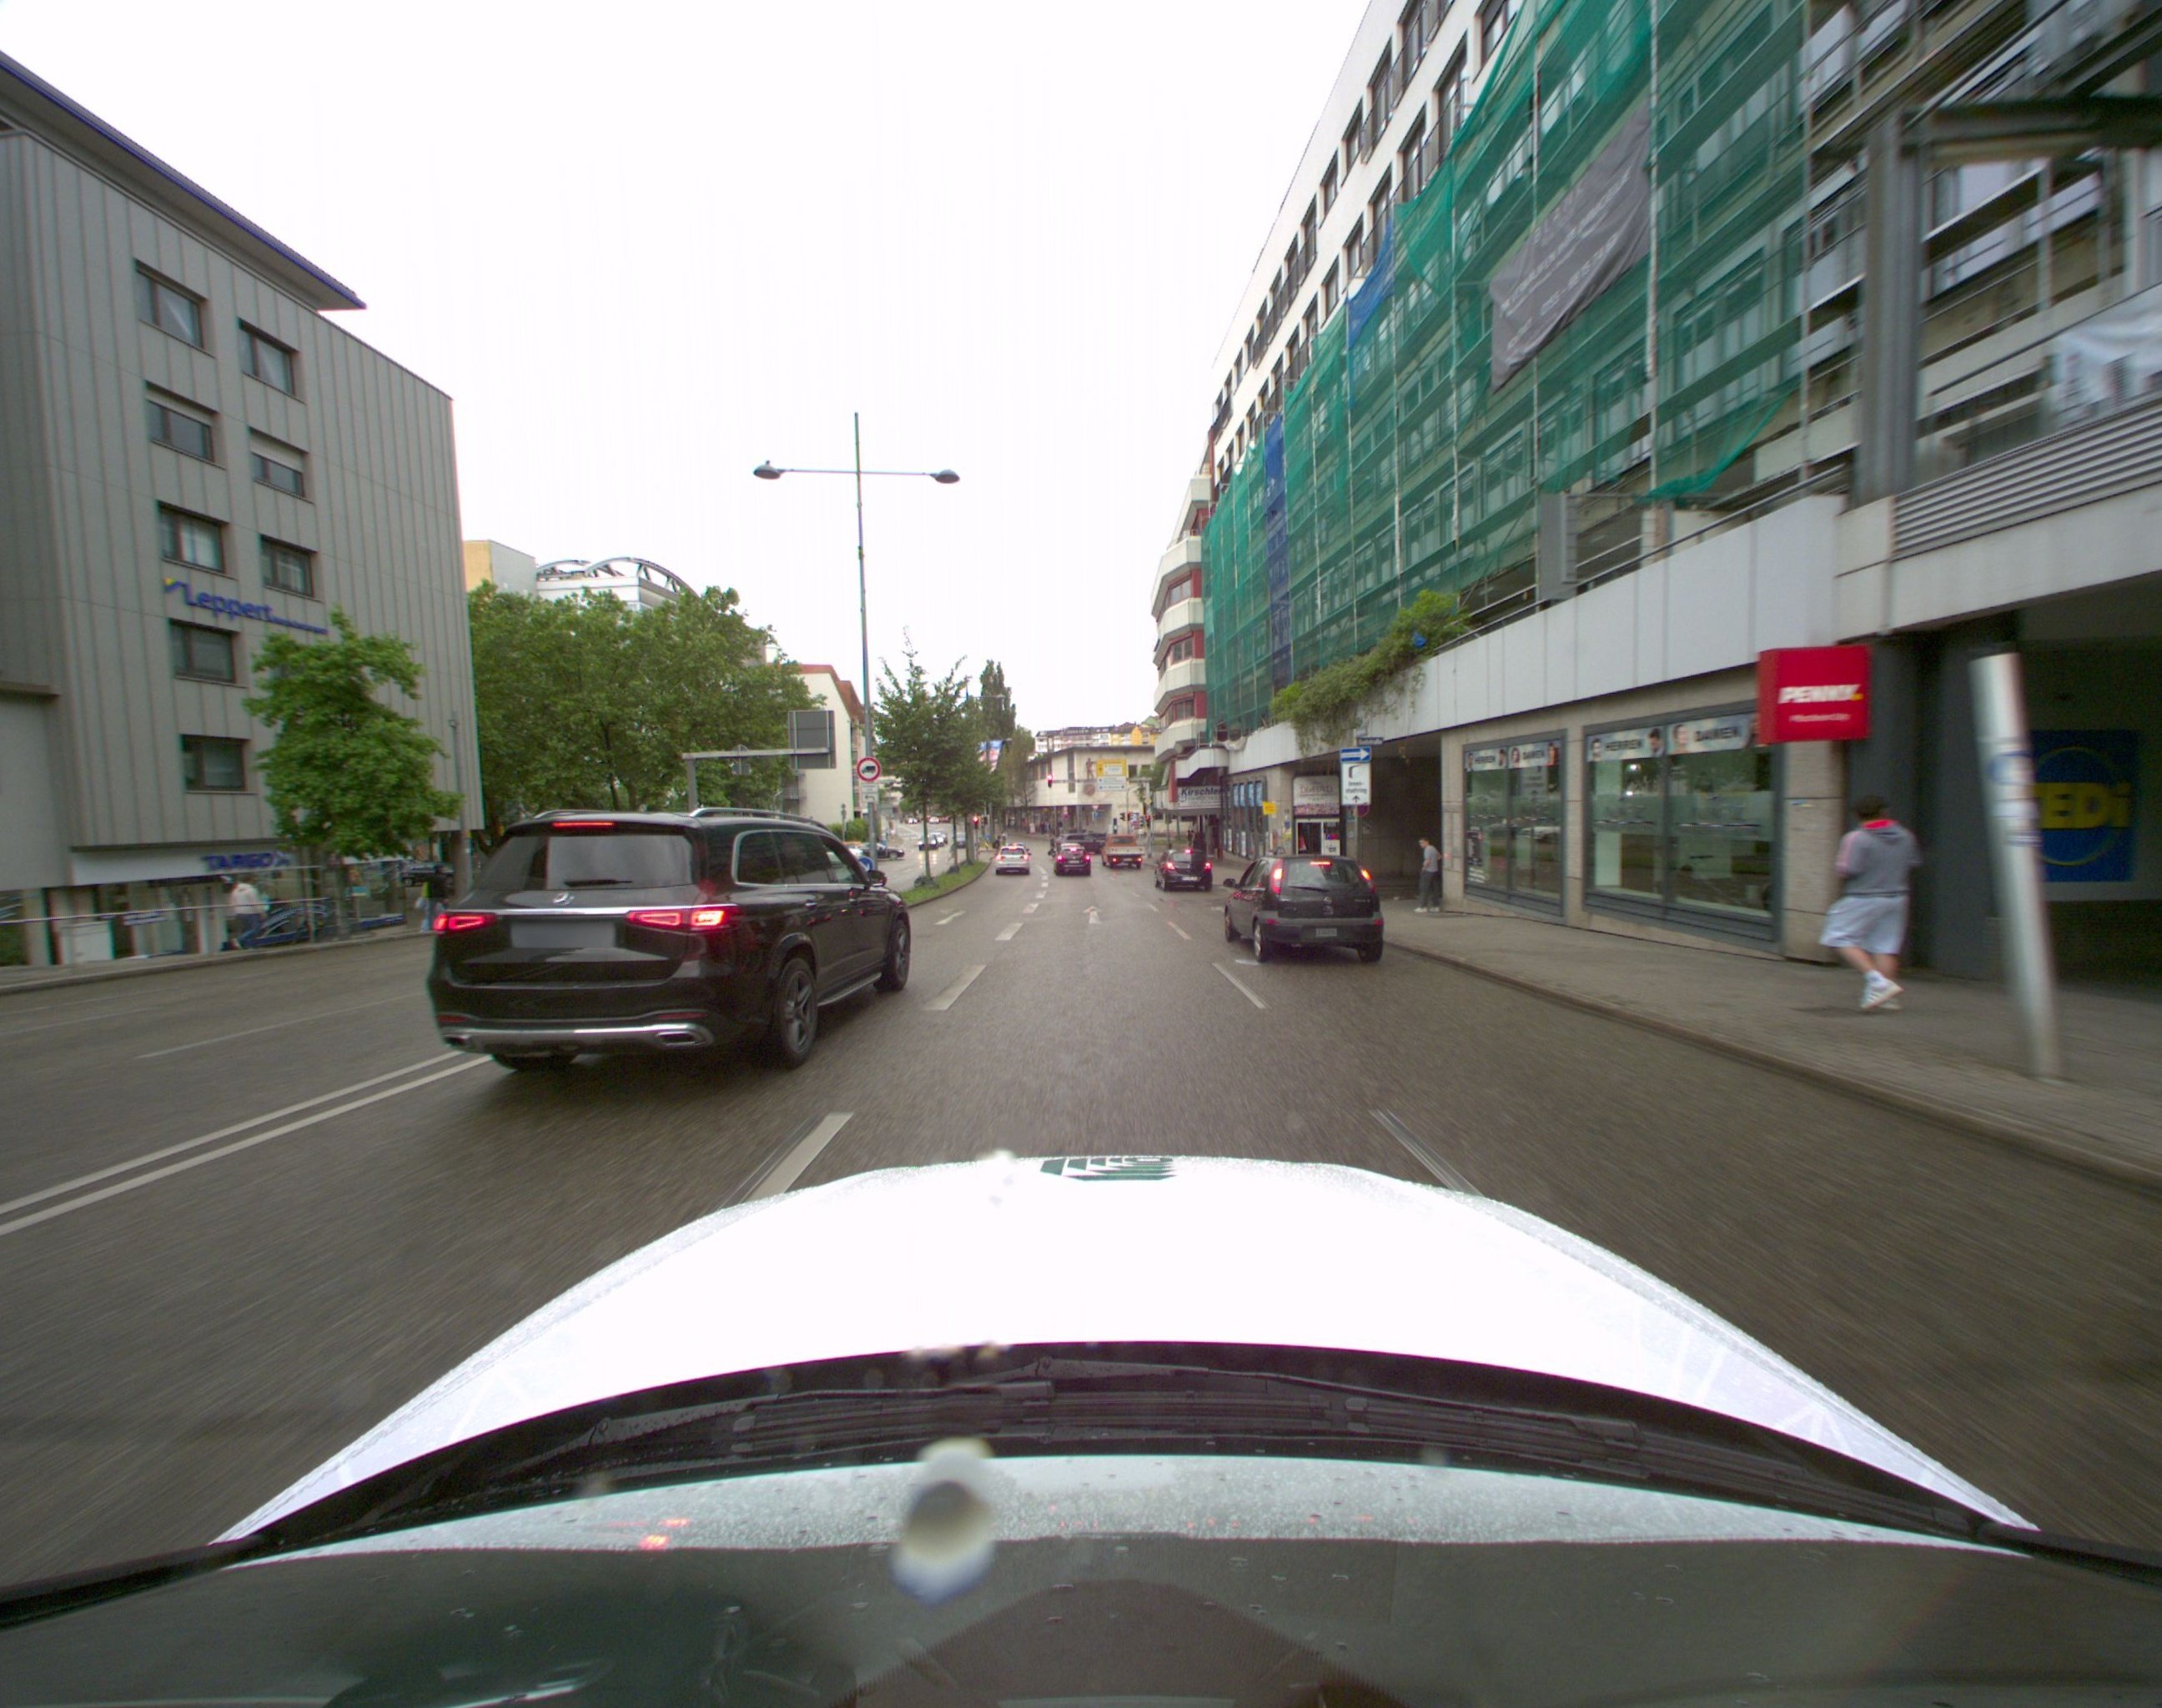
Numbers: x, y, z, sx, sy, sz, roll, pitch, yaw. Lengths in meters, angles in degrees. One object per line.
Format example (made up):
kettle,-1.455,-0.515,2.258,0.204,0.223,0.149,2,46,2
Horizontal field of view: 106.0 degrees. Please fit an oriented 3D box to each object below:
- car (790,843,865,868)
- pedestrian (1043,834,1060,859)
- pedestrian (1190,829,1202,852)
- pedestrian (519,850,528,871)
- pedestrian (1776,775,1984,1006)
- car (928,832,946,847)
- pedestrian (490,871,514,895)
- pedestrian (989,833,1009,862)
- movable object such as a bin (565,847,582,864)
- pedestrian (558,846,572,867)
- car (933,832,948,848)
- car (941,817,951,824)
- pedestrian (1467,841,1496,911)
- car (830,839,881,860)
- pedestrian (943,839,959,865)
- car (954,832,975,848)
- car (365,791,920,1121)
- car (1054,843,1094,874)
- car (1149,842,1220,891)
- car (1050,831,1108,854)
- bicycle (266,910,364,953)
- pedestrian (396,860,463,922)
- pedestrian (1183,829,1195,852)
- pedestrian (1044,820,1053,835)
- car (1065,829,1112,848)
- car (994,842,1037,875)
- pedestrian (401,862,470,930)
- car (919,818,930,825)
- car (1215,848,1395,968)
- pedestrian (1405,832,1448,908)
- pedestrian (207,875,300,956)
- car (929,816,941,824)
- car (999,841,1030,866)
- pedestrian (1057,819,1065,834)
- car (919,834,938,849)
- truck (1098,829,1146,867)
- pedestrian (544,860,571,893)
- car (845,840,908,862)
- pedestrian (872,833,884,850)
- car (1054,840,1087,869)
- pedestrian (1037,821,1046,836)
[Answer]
car,-18.342,0.083,59.154,5.078,1.759,1.991,-1,0,-14
pedestrian,-2.118,-0.512,58.319,1.006,1.722,0.839,-3,1,3
pedestrian,8.572,-1.015,60.714,0.577,1.699,0.647,-3,1,-15
pedestrian,-47.906,0.563,69.985,0.509,1.709,0.610,-4,1,-43
pedestrian,6.416,0.273,6.597,0.831,1.722,0.831,-3,1,7
car,-15.464,-1.589,87.668,1.778,1.549,3.987,-2,1,-10
pedestrian,-32.788,1.639,46.109,0.954,1.272,0.753,-3,1,-28
pedestrian,-5.534,-0.449,54.941,1.058,1.881,0.840,-3,1,5
movable object such as a bin,-46.330,0.126,74.337,1.107,1.446,0.601,-3,1,3
pedestrian,-44.522,0.240,70.298,0.615,1.778,0.830,-3,1,-10
car,-16.258,-1.617,94.354,1.705,1.720,3.987,-2,1,-10
car,-29.810,-7.387,179.580,1.835,1.588,3.854,-2,1,-15
pedestrian,10.133,0.545,20.599,0.508,1.735,0.643,-1,2,38
car,-18.911,-0.386,68.367,4.001,1.616,1.767,-2,0,-13
pedestrian,-9.015,-0.121,56.414,0.832,1.722,0.819,-3,1,2
car,-11.609,-1.394,81.115,1.817,1.549,3.992,-2,1,-6
car,-2.880,0.523,6.882,2.081,1.817,4.792,0,1,0
car,-0.412,0.209,42.139,1.809,1.440,3.994,0,2,-5
car,3.673,0.388,29.589,1.944,1.574,3.998,-2,1,-2
car,-0.168,-0.884,63.842,4.153,1.657,1.833,-2,0,-13
bicycle,-24.319,2.425,25.953,0.610,1.086,2.669,-2,1,-1
pedestrian,-19.327,1.092,24.194,0.968,1.722,1.092,-3,1,6
pedestrian,8.005,-1.017,60.350,0.576,1.699,0.648,-3,1,-11
pedestrian,-4.127,-3.336,103.714,0.848,1.802,1.050,-3,1,-16
car,0.650,-1.340,71.696,3.975,1.527,1.847,-2,1,-1
car,-3.420,0.207,43.006,1.944,1.574,3.999,-2,1,-1
pedestrian,-17.382,1.104,21.981,0.815,1.713,1.310,-3,1,-8
car,-35.449,-7.389,184.695,1.757,1.554,3.541,-2,1,-24
car,3.095,0.656,11.999,1.710,1.420,3.772,-2,1,2
pedestrian,7.743,0.358,18.247,0.635,1.649,0.566,-4,0,41
pedestrian,-19.245,1.406,18.978,0.991,1.722,1.037,-3,1,-4
car,-31.372,-7.246,174.584,1.998,1.596,3.977,-2,1,-17
car,-4.116,-0.066,50.951,1.791,1.468,3.995,-2,1,-4
pedestrian,-2.583,-3.496,104.407,0.704,1.802,0.934,-3,1,-16
car,-14.959,-1.226,80.038,1.706,1.451,3.850,-2,1,-8
truck,2.400,-0.382,48.840,2.180,2.082,5.595,-2,1,-4
pedestrian,-29.051,1.250,45.203,0.752,1.722,0.955,-3,1,12
car,-15.940,-0.234,63.458,4.692,1.643,1.777,-1,0,-16
pedestrian,-20.666,-1.260,82.950,0.931,1.608,0.557,-4,1,-42
car,-0.689,-0.009,49.146,1.757,1.542,3.995,-2,2,-4
pedestrian,-5.039,-3.289,104.153,0.800,1.802,0.913,-3,1,-16
